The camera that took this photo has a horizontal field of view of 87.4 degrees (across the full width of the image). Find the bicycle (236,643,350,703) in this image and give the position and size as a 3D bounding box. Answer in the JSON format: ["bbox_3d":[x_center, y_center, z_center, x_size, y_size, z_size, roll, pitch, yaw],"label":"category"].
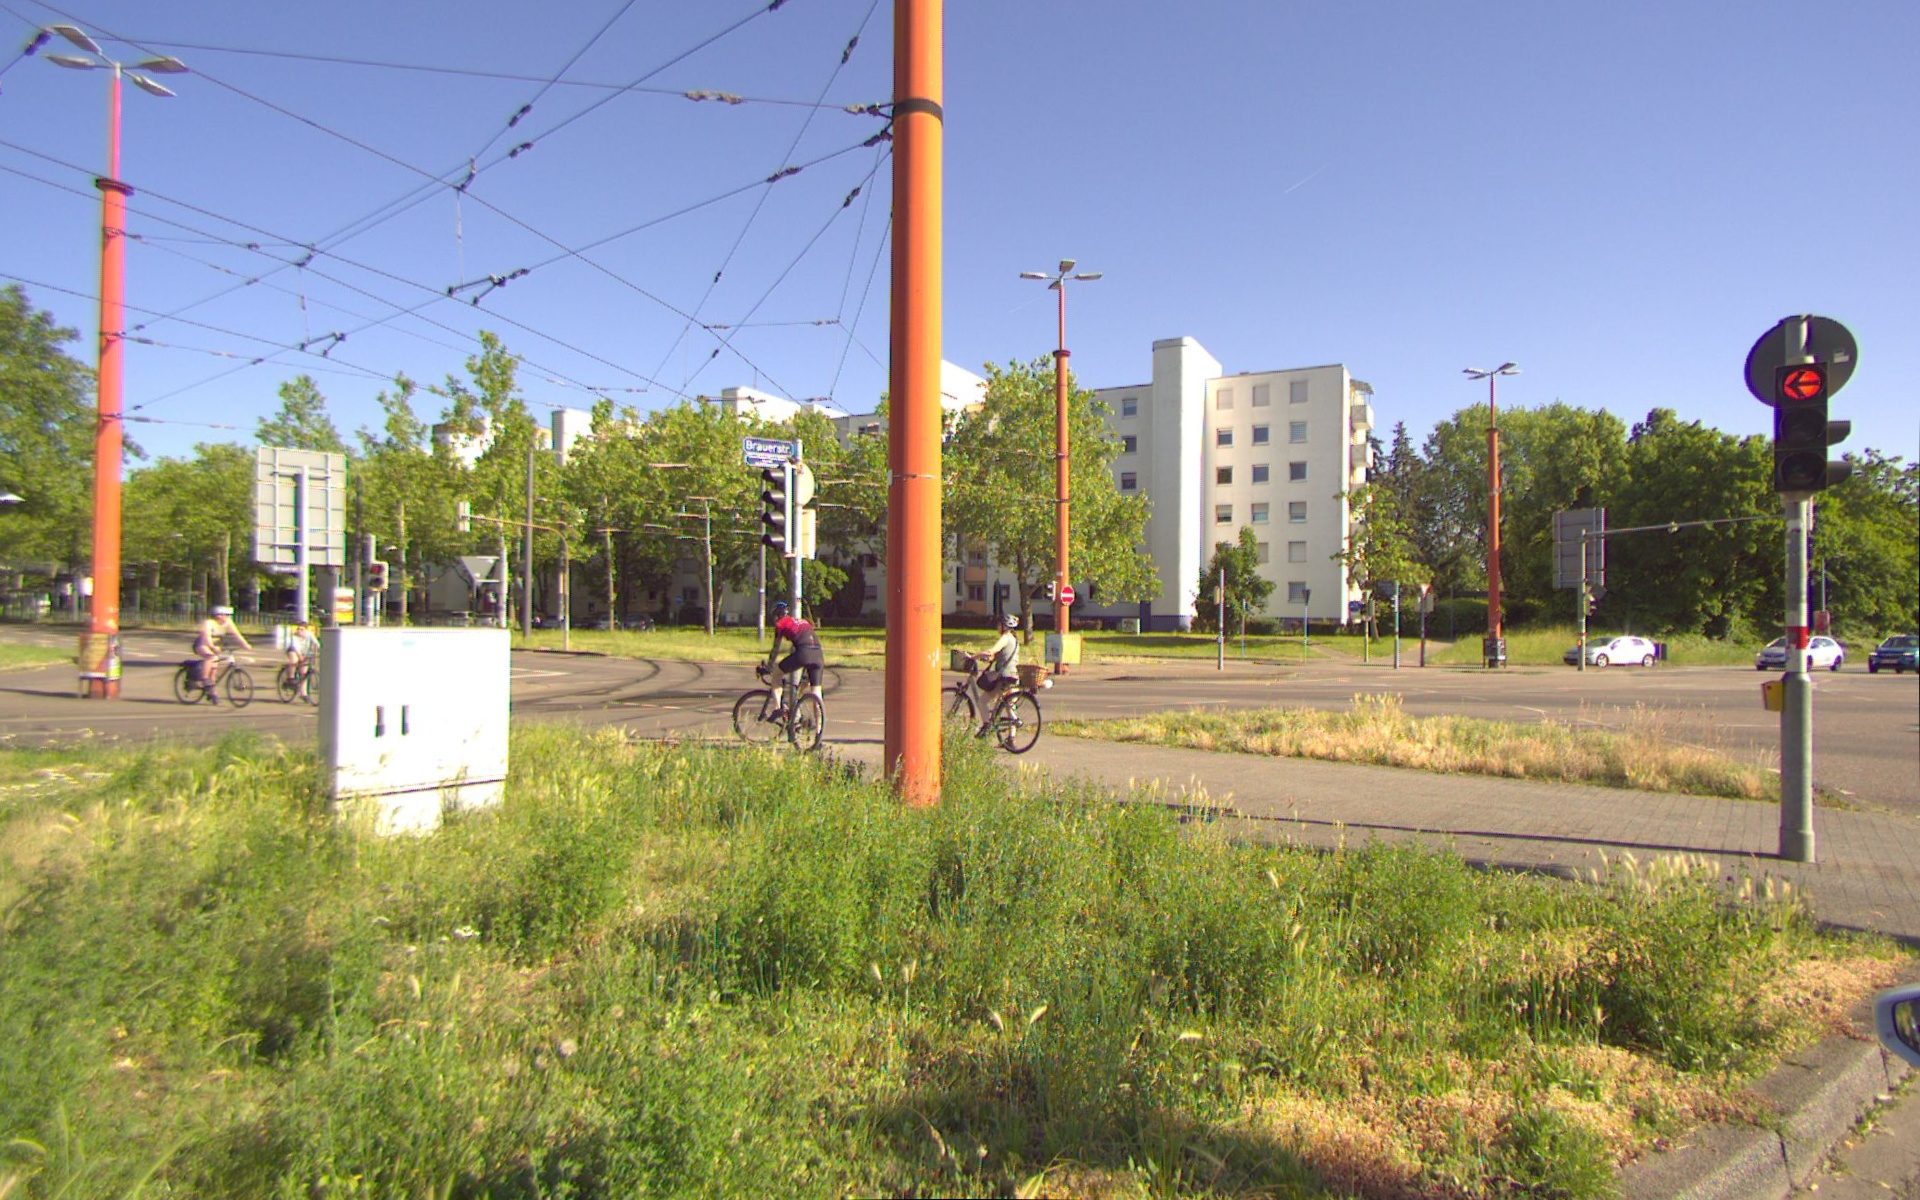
[{"bbox_3d":[-13.254,1.439,19.980,1.849,1.102,0.928,0,-1,18],"label":"bicycle"}]

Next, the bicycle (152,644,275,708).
[{"bbox_3d":[-14.032,1.409,18.896,1.849,1.102,0.928,0,-1,18],"label":"bicycle"}]

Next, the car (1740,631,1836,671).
[{"bbox_3d":[35.141,2.152,42.607,4.075,1.594,1.983,1,-1,-32],"label":"car"}]

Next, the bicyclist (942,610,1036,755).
[{"bbox_3d":[0.356,0.954,12.098,0.728,1.659,0.931,0,-1,35],"label":"bicyclist"}]

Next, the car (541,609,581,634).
[{"bbox_3d":[-31.197,1.673,78.678,1.963,1.840,3.995,1,-1,-8],"label":"car"}]

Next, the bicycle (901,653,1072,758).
[{"bbox_3d":[0.312,1.224,12.121,1.855,1.102,0.925,0,-1,34],"label":"bicycle"}]

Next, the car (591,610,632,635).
[{"bbox_3d":[-26.114,1.684,75.329,1.962,1.840,3.997,1,-1,-5],"label":"car"}]

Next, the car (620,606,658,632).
[{"bbox_3d":[-23.407,1.397,73.417,1.963,1.840,3.995,1,-1,-8],"label":"car"}]

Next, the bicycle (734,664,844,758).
[{"bbox_3d":[-2.118,1.305,12.236,0.915,0.976,1.747,1,-1,-24],"label":"bicycle"}]

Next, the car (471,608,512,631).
[{"bbox_3d":[-39.288,1.638,84.326,1.963,1.840,3.995,1,-1,-8],"label":"car"}]

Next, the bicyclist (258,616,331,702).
[{"bbox_3d":[-13.215,1.159,19.968,0.726,1.659,0.934,0,-1,18],"label":"bicyclist"}]

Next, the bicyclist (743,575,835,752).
[{"bbox_3d":[-2.069,0.745,12.140,0.921,2.040,0.736,1,-1,-25],"label":"bicyclist"}]

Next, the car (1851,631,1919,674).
[{"bbox_3d":[37.264,2.039,39.866,4.079,1.594,1.981,2,-1,-35],"label":"car"}]

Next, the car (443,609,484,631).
[{"bbox_3d":[-42.678,1.696,86.447,1.963,1.840,3.995,1,-1,-8],"label":"car"}]

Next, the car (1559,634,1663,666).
[{"bbox_3d":[30.895,2.378,47.671,4.149,1.471,1.795,1,-1,-14],"label":"car"}]

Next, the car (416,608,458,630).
[{"bbox_3d":[-46.027,1.672,88.476,1.963,1.840,3.995,1,-1,-8],"label":"car"}]

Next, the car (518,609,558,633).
[{"bbox_3d":[-33.813,1.668,80.528,1.963,1.840,3.995,1,-1,-8],"label":"car"}]

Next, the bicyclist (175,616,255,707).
[{"bbox_3d":[-14.005,1.130,18.897,0.726,1.659,0.934,0,-1,18],"label":"bicyclist"}]
